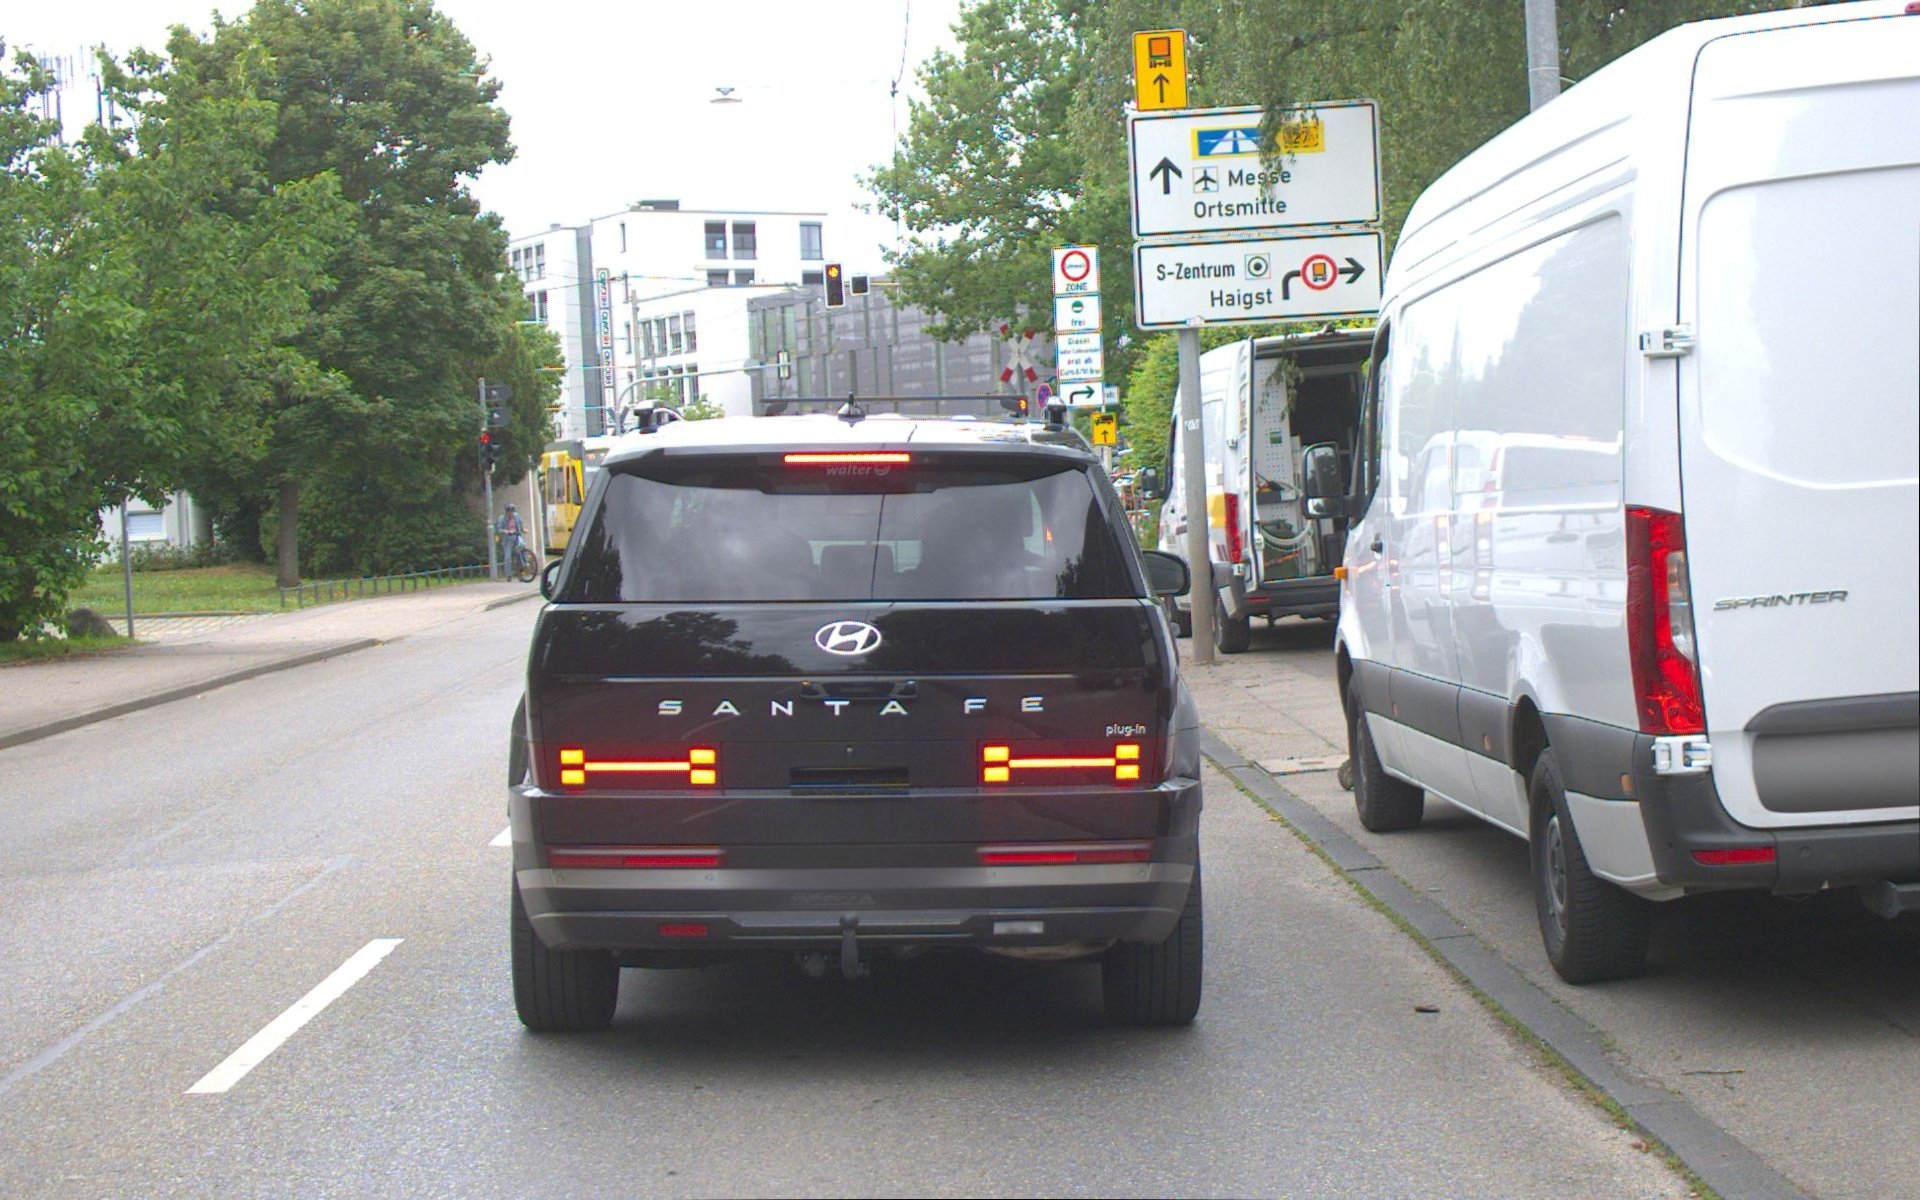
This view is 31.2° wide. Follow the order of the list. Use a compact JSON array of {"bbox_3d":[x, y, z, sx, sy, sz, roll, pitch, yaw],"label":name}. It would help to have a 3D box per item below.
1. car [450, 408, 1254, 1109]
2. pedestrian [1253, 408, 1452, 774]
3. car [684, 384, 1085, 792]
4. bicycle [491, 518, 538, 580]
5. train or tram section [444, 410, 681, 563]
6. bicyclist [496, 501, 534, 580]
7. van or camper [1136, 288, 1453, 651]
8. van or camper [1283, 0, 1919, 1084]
[{"bbox_3d":[-0.315,0.331,10.537,1.963,1.705,4.001,-1,2,-1],"label":"car"},{"bbox_3d":[1.948,-0.047,17.076,0.617,1.737,0.605,-6,2,-24],"label":"pedestrian"},{"bbox_3d":[-0.425,-0.123,19.109,1.963,1.994,4.001,-1,2,-1],"label":"car"},{"bbox_3d":[-9.465,-1.079,73.029,0.675,1.275,2.502,-1,0,-14],"label":"bicycle"},{"bbox_3d":[-13.757,-3.663,116.627,3.192,4.507,18.688,-1,0,-22],"label":"train or tram section"},{"bbox_3d":[-9.464,-1.260,73.058,0.675,1.653,0.859,-1,0,-14],"label":"bicyclist"},{"bbox_3d":[2.832,-1.132,30.320,1.963,2.787,5.288,-4,2,-1],"label":"van or camper"},{"bbox_3d":[2.535,-0.307,11.504,1.963,2.618,6.359,-4,2,-1],"label":"van or camper"}]
